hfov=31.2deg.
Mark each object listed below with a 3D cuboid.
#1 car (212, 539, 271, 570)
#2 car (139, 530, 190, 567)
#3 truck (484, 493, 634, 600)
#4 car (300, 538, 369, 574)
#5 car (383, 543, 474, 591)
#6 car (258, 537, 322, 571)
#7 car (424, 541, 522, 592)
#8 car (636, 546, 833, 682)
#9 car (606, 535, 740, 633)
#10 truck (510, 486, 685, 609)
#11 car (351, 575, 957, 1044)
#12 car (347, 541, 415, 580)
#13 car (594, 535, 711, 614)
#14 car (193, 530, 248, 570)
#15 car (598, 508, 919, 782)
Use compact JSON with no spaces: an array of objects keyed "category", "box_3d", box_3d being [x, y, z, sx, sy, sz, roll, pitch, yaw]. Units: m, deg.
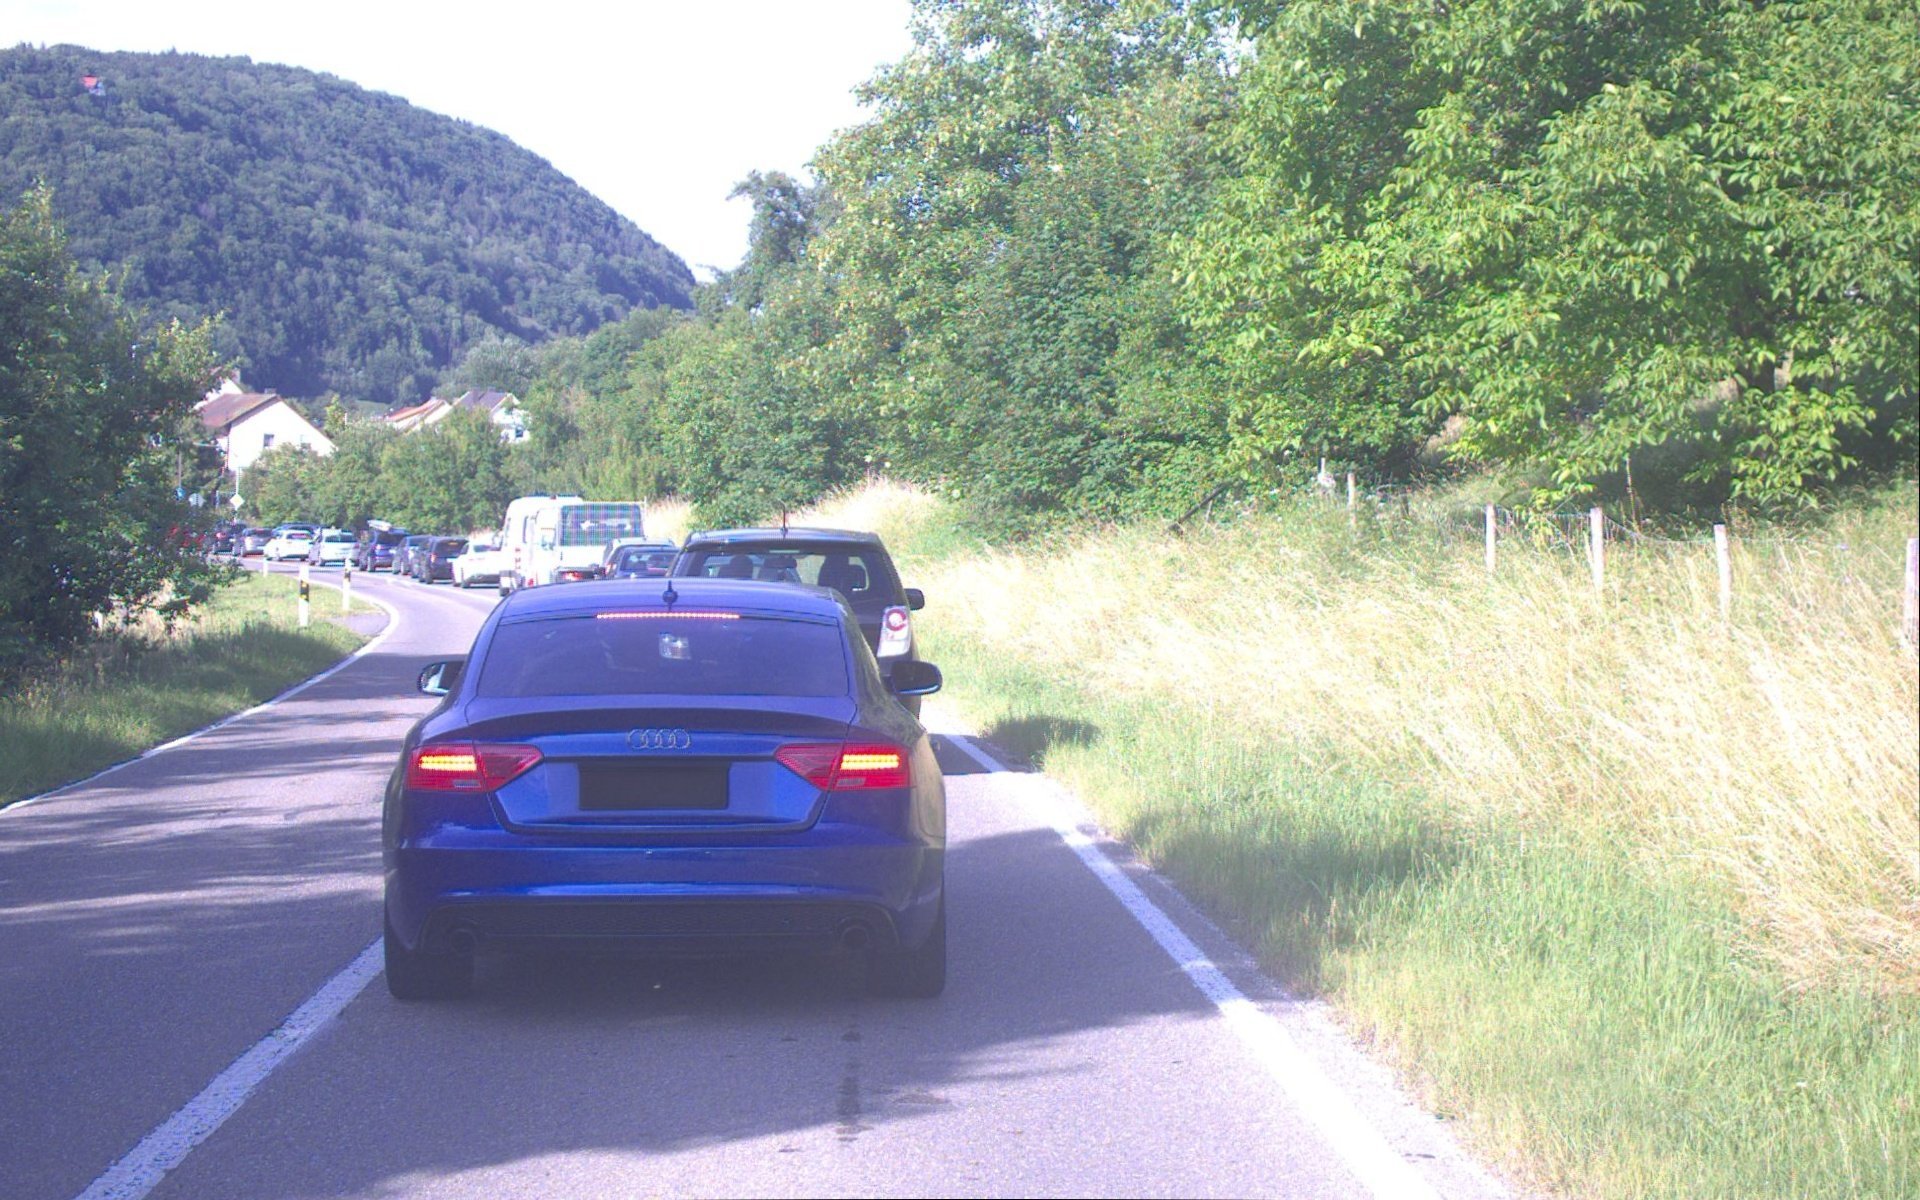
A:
[{"category":"car","box_3d":[-35.222,-2.249,168.423,1.993,1.477,4.001,0,1,-24]},{"category":"car","box_3d":[-43.182,-2.789,186.551,1.993,2.007,4.001,0,1,-23]},{"category":"truck","box_3d":[-10.776,-1.426,91.507,2.863,2.656,10.648,1,1,-13]},{"category":"car","box_3d":[-26.519,-1.876,145.665,1.993,1.477,4.001,0,1,-24]},{"category":"car","box_3d":[-17.133,-1.069,110.687,1.993,1.477,4.001,0,1,-22]},{"category":"car","box_3d":[-30.708,-2.105,157.450,1.993,1.477,4.001,0,1,-24]},{"category":"car","box_3d":[-14.677,-1.005,103.538,1.993,1.477,4.001,0,1,-22]},{"category":"car","box_3d":[-2.400,0.130,37.417,1.993,1.382,4.000,1,1,-2]},{"category":"car","box_3d":[-4.594,-0.268,54.589,1.993,1.477,4.001,1,1,-7]},{"category":"truck","box_3d":[-8.558,-1.238,80.044,2.863,2.656,10.396,1,1,-13]},{"category":"car","box_3d":[-0.940,0.607,12.211,1.793,1.355,4.000,0,1,-1]},{"category":"car","box_3d":[-22.350,-1.535,132.604,1.993,1.477,4.001,0,1,-18]},{"category":"car","box_3d":[-6.055,-0.502,67.334,1.993,1.477,4.001,1,1,-9]},{"category":"car","box_3d":[-37.841,-2.570,175.871,1.993,2.007,4.001,0,1,-23]},{"category":"car","box_3d":[-1.329,0.265,23.551,1.993,1.696,4.000,1,0,-2]}]
